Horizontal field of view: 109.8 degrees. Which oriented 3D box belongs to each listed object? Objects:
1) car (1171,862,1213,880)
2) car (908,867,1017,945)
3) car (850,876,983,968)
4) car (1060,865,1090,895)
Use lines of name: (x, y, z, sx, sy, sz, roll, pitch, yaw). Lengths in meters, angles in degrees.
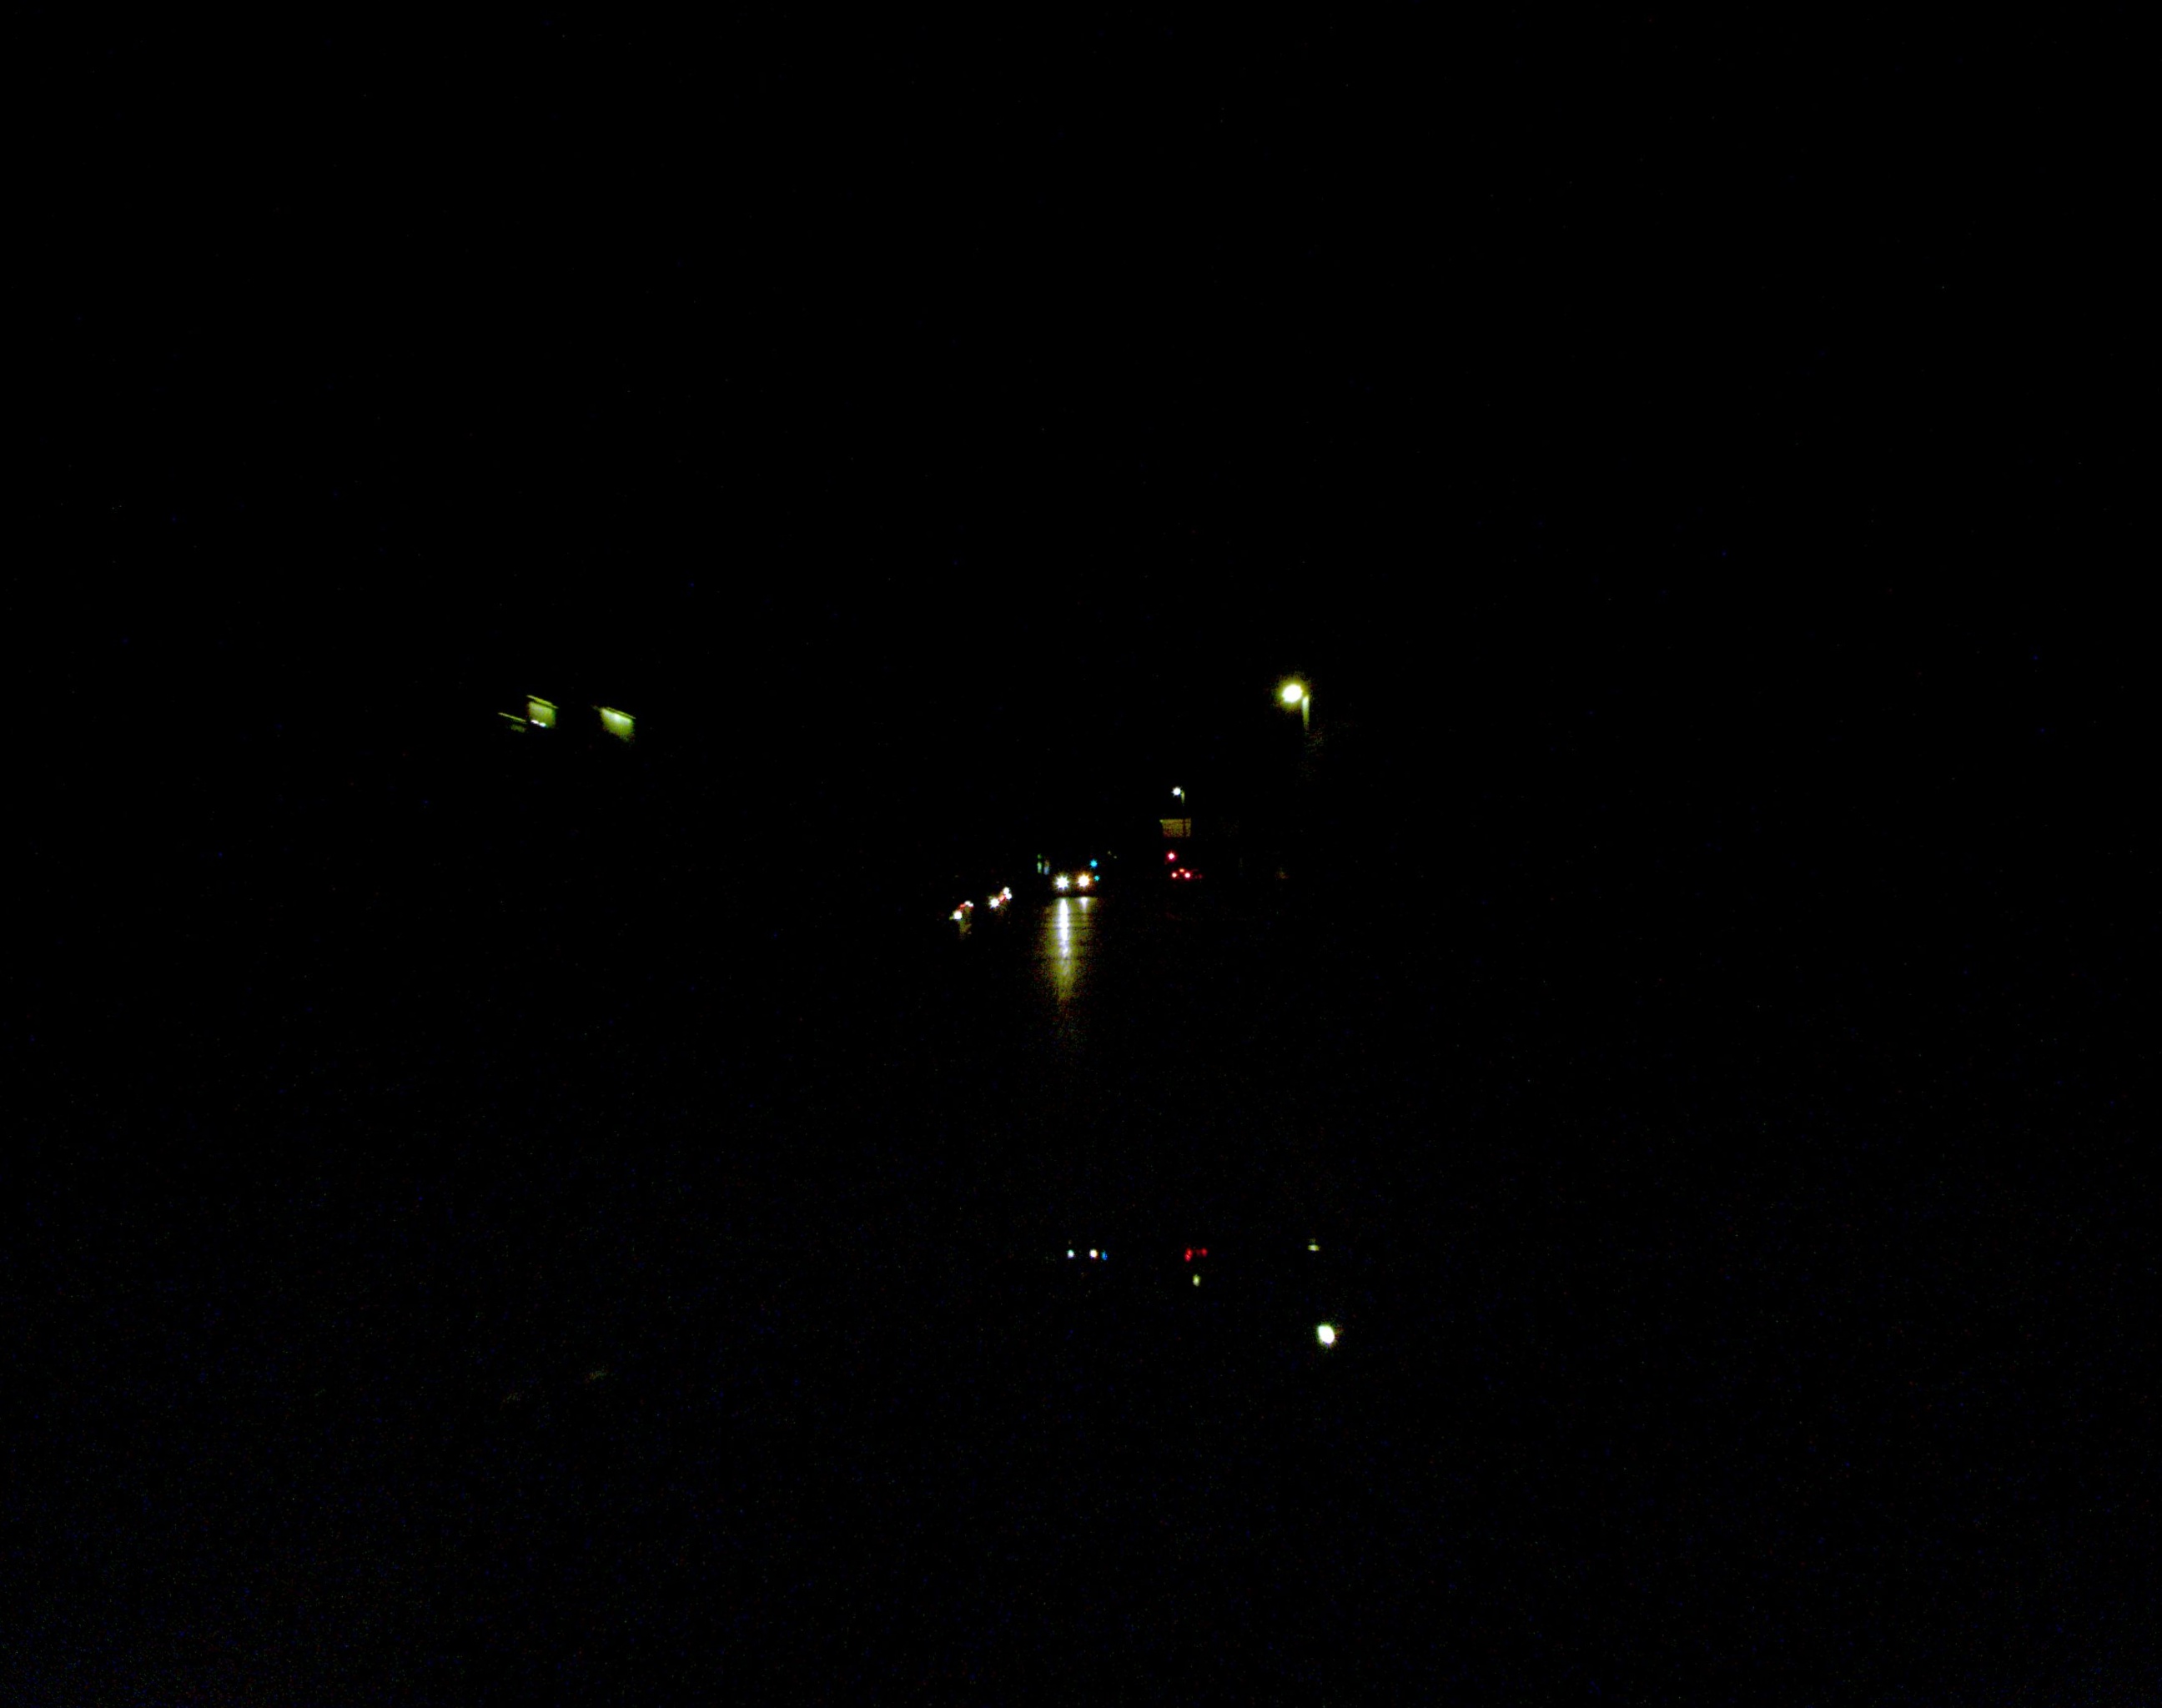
car: (9.839, 1.461, 67.160, 1.726, 1.422, 4.298, 1, 2, 38)
car: (-2.742, 1.159, 18.653, 1.759, 1.584, 4.729, -2, -1, 2)
car: (-2.892, 1.161, 14.145, 1.613, 1.452, 3.718, 1, -2, 0)
car: (-0.292, 1.361, 39.965, 1.513, 1.492, 3.050, -1, -1, 1)
